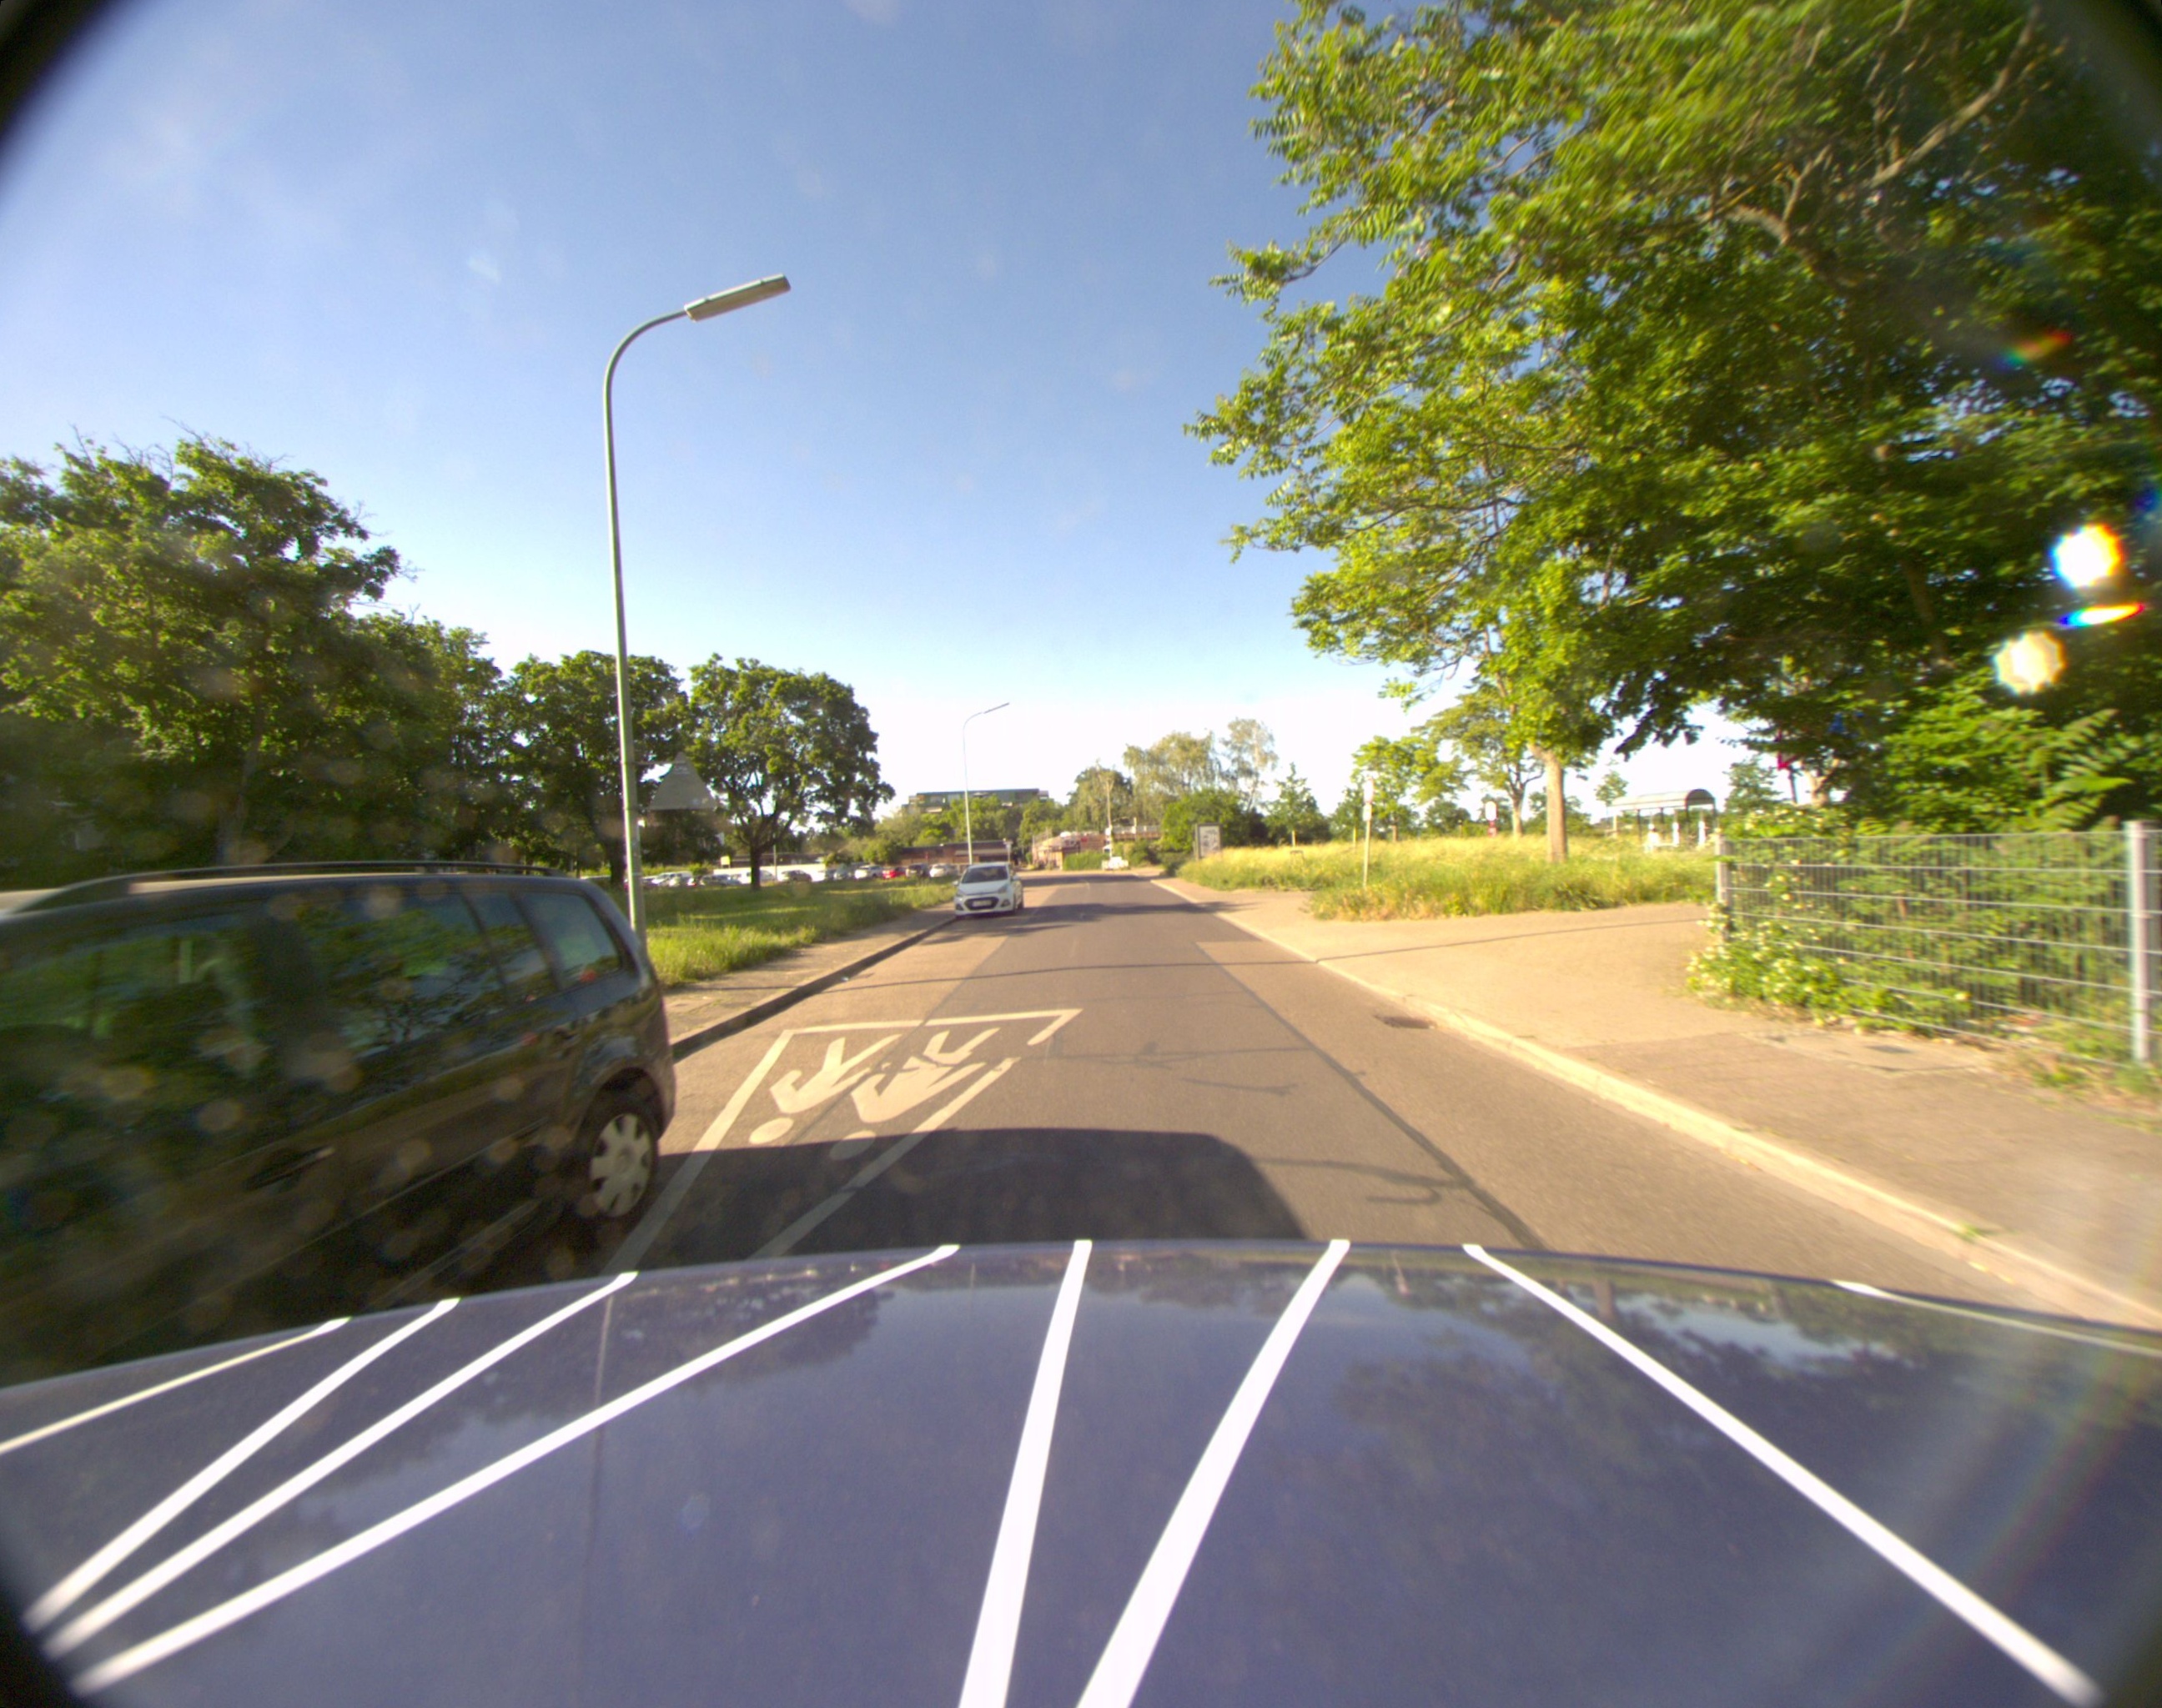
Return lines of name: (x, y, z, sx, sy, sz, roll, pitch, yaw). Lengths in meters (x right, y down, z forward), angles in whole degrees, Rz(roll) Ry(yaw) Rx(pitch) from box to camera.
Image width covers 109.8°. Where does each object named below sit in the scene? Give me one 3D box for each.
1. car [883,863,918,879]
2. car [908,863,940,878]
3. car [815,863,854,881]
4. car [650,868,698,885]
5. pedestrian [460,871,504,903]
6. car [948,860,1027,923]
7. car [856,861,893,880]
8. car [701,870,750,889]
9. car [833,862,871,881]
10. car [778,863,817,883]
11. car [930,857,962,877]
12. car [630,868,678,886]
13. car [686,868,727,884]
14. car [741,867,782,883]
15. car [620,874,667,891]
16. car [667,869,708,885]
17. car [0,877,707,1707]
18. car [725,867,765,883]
car: (-18.608, 1.706, 78.457, 1.862, 1.461, 4.004, -2, 0, 14)
car: (-15.949, 1.650, 77.316, 1.779, 1.316, 4.003, -2, 0, 11)
car: (-26.005, 1.878, 80.203, 1.953, 1.763, 4.004, -2, 0, 14)
car: (-46.646, 2.560, 87.190, 1.953, 1.735, 4.709, -2, 0, 18)
pedestrian: (-40.867, 2.234, 51.861, 1.490, 2.019, 1.699, -2, 1, 4)
car: (-2.624, 1.008, 22.066, 1.656, 1.471, 3.916, -5, 0, 1)
car: (-21.209, 1.690, 78.225, 1.858, 1.763, 4.004, -2, 0, 14)
car: (-33.198, 2.366, 70.966, 3.632, 1.515, 2.002, -2, 0, 18)
car: (-23.697, 1.780, 78.843, 1.953, 1.763, 4.004, -2, 0, 14)
car: (-30.485, 2.018, 81.859, 1.953, 1.763, 4.003, -2, 2, 14)
car: (-13.603, 1.337, 76.934, 1.954, 1.849, 4.002, -2, 0, 9)
car: (-49.392, 2.656, 88.031, 1.953, 1.735, 4.709, -2, 0, 18)
car: (-42.031, 2.497, 85.366, 1.953, 1.552, 4.004, -2, 0, 14)
car: (-34.868, 2.257, 83.039, 1.953, 1.552, 4.004, -2, 0, 14)
car: (-42.733, 2.786, 74.305, 3.632, 1.442, 2.002, -2, 0, 18)
car: (-44.487, 2.593, 86.032, 1.798, 1.552, 4.004, -2, 0, 14)
car: (-2.909, 1.005, 1.776, 1.843, 1.642, 4.468, -4, 0, -1)
car: (-36.951, 2.323, 83.668, 1.953, 1.552, 4.004, -2, 0, 14)
